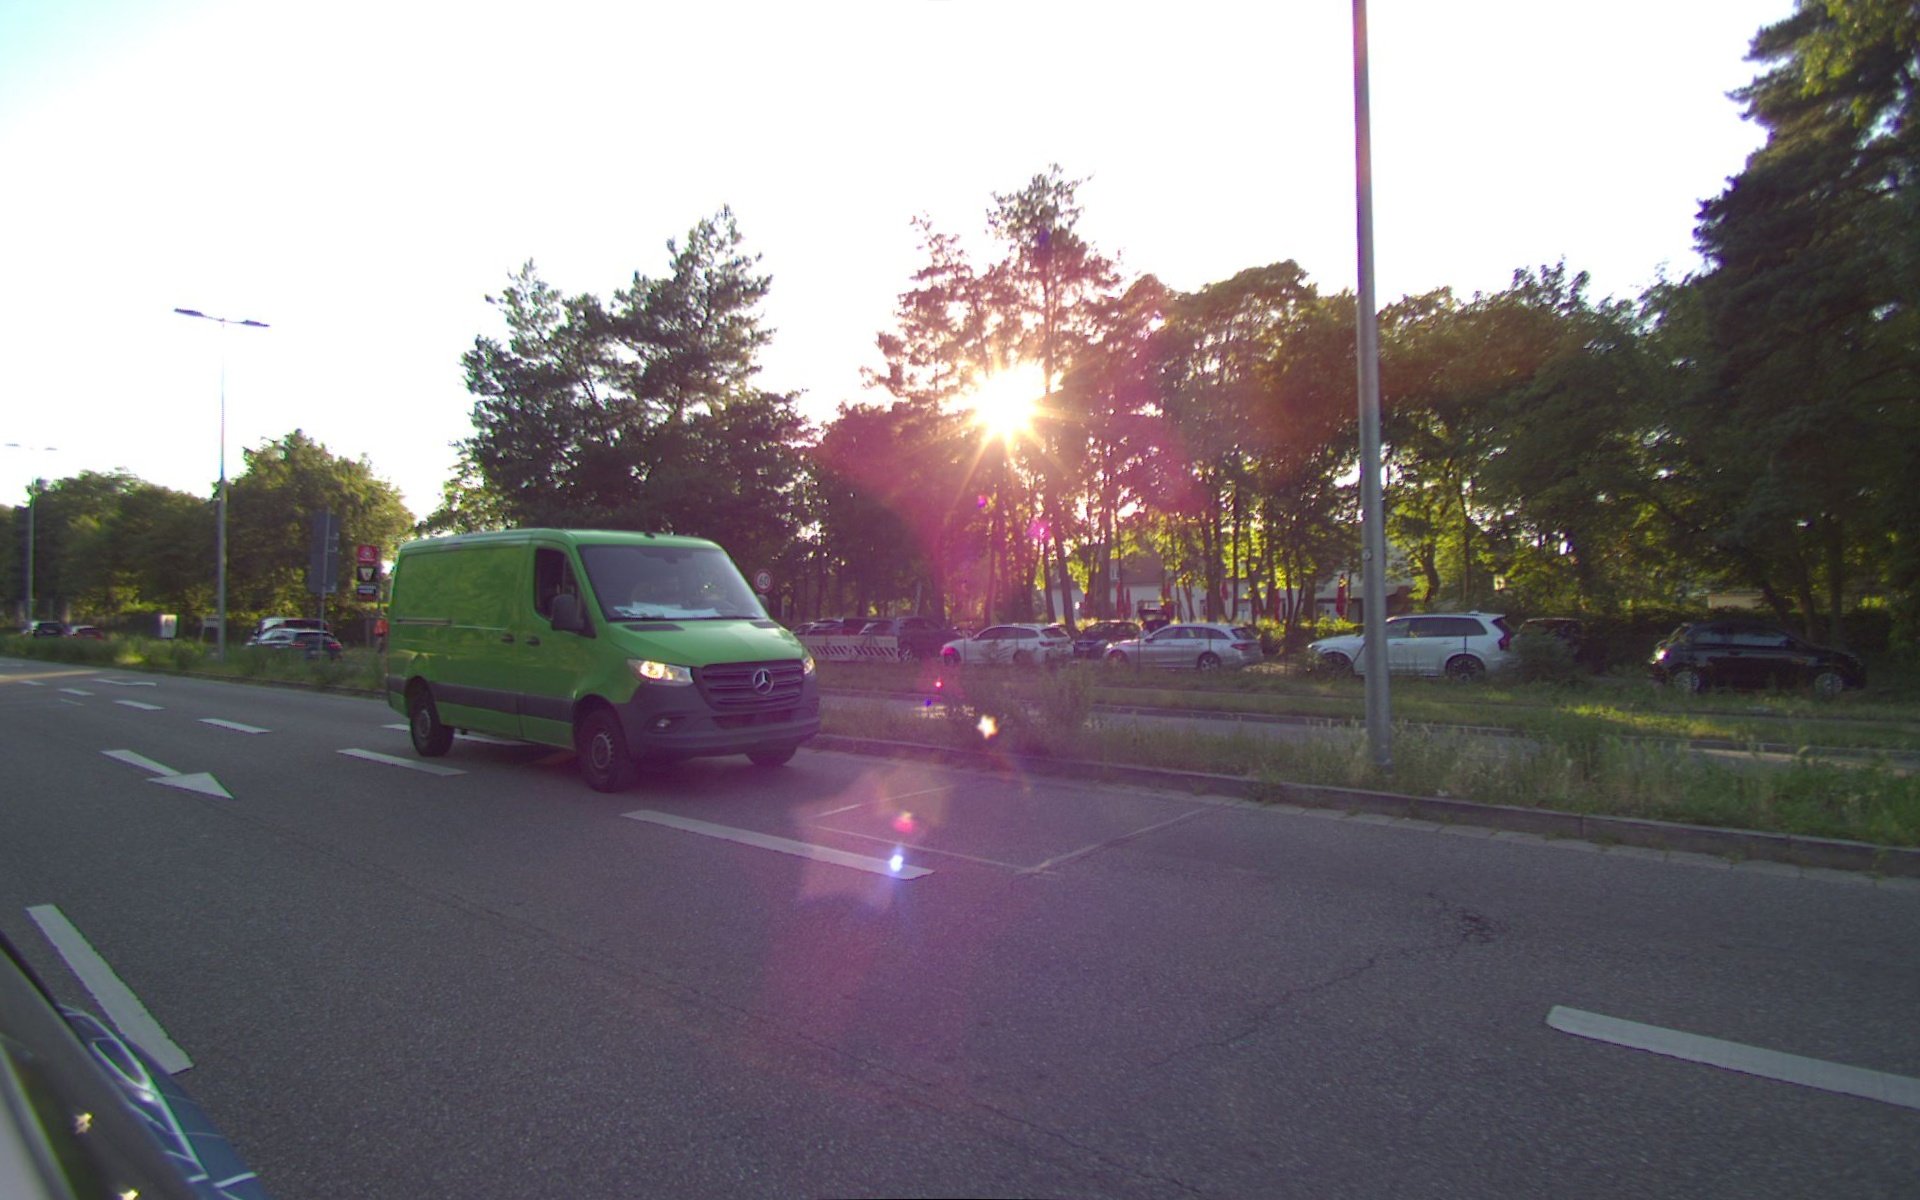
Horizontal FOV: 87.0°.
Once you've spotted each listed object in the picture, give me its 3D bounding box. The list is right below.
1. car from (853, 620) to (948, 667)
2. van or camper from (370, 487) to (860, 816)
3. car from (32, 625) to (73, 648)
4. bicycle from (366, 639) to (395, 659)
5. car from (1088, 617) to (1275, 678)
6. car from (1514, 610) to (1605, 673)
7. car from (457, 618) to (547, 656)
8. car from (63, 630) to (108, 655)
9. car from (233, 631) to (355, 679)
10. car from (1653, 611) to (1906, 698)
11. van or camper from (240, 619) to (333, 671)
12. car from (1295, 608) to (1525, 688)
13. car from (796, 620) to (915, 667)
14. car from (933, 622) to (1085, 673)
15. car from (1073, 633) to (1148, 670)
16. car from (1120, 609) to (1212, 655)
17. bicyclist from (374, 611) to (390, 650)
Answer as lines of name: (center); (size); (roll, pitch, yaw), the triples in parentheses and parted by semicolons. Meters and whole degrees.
car: (-2.020, 1.475, 34.990); (1.658, 1.538, 3.059); (-2, -2, 40)
van or camper: (-3.752, 0.464, 10.192); (5.892, 2.439, 1.973); (-2, -2, 41)
car: (-66.242, 2.668, 73.861); (3.997, 1.552, 1.738); (-1, 0, 41)
bicycle: (-27.855, 2.339, 48.638); (2.041, 0.940, 0.487); (-2, -2, 37)
car: (6.309, 1.329, 29.130); (4.915, 1.619, 1.974); (-2, -2, 38)
car: (17.051, 1.152, 28.709); (1.914, 1.663, 3.952); (-1, -2, 35)
car: (-23.922, 1.925, 52.960); (1.765, 1.959, 3.947); (-2, -2, 39)
car: (-59.701, 2.863, 69.043); (3.997, 1.552, 1.738); (-1, 0, 41)
car: (-22.744, 1.839, 34.514); (4.503, 1.506, 1.976); (-2, -2, 36)
car: (16.420, 1.063, 20.532); (3.808, 1.609, 1.837); (-2, -2, 37)
van or camper: (-28.018, 1.846, 42.045); (4.573, 2.029, 1.974); (-2, -2, 39)
car: (11.134, 1.161, 25.222); (4.915, 1.800, 1.974); (-2, -2, 38)
car: (-3.805, 1.582, 37.518); (1.769, 1.629, 4.468); (-2, -2, 38)
car: (1.542, 1.517, 32.953); (4.703, 1.560, 1.974); (-2, -2, 38)
car: (6.050, 2.037, 40.421); (1.461, 1.266, 3.279); (-2, 0, 39)
car: (7.905, 1.214, 38.610); (1.765, 1.663, 3.945); (-2, -2, 41)
bicyclist: (-27.798, 1.457, 48.665); (0.617, 1.888, 0.454); (-2, -2, 39)
